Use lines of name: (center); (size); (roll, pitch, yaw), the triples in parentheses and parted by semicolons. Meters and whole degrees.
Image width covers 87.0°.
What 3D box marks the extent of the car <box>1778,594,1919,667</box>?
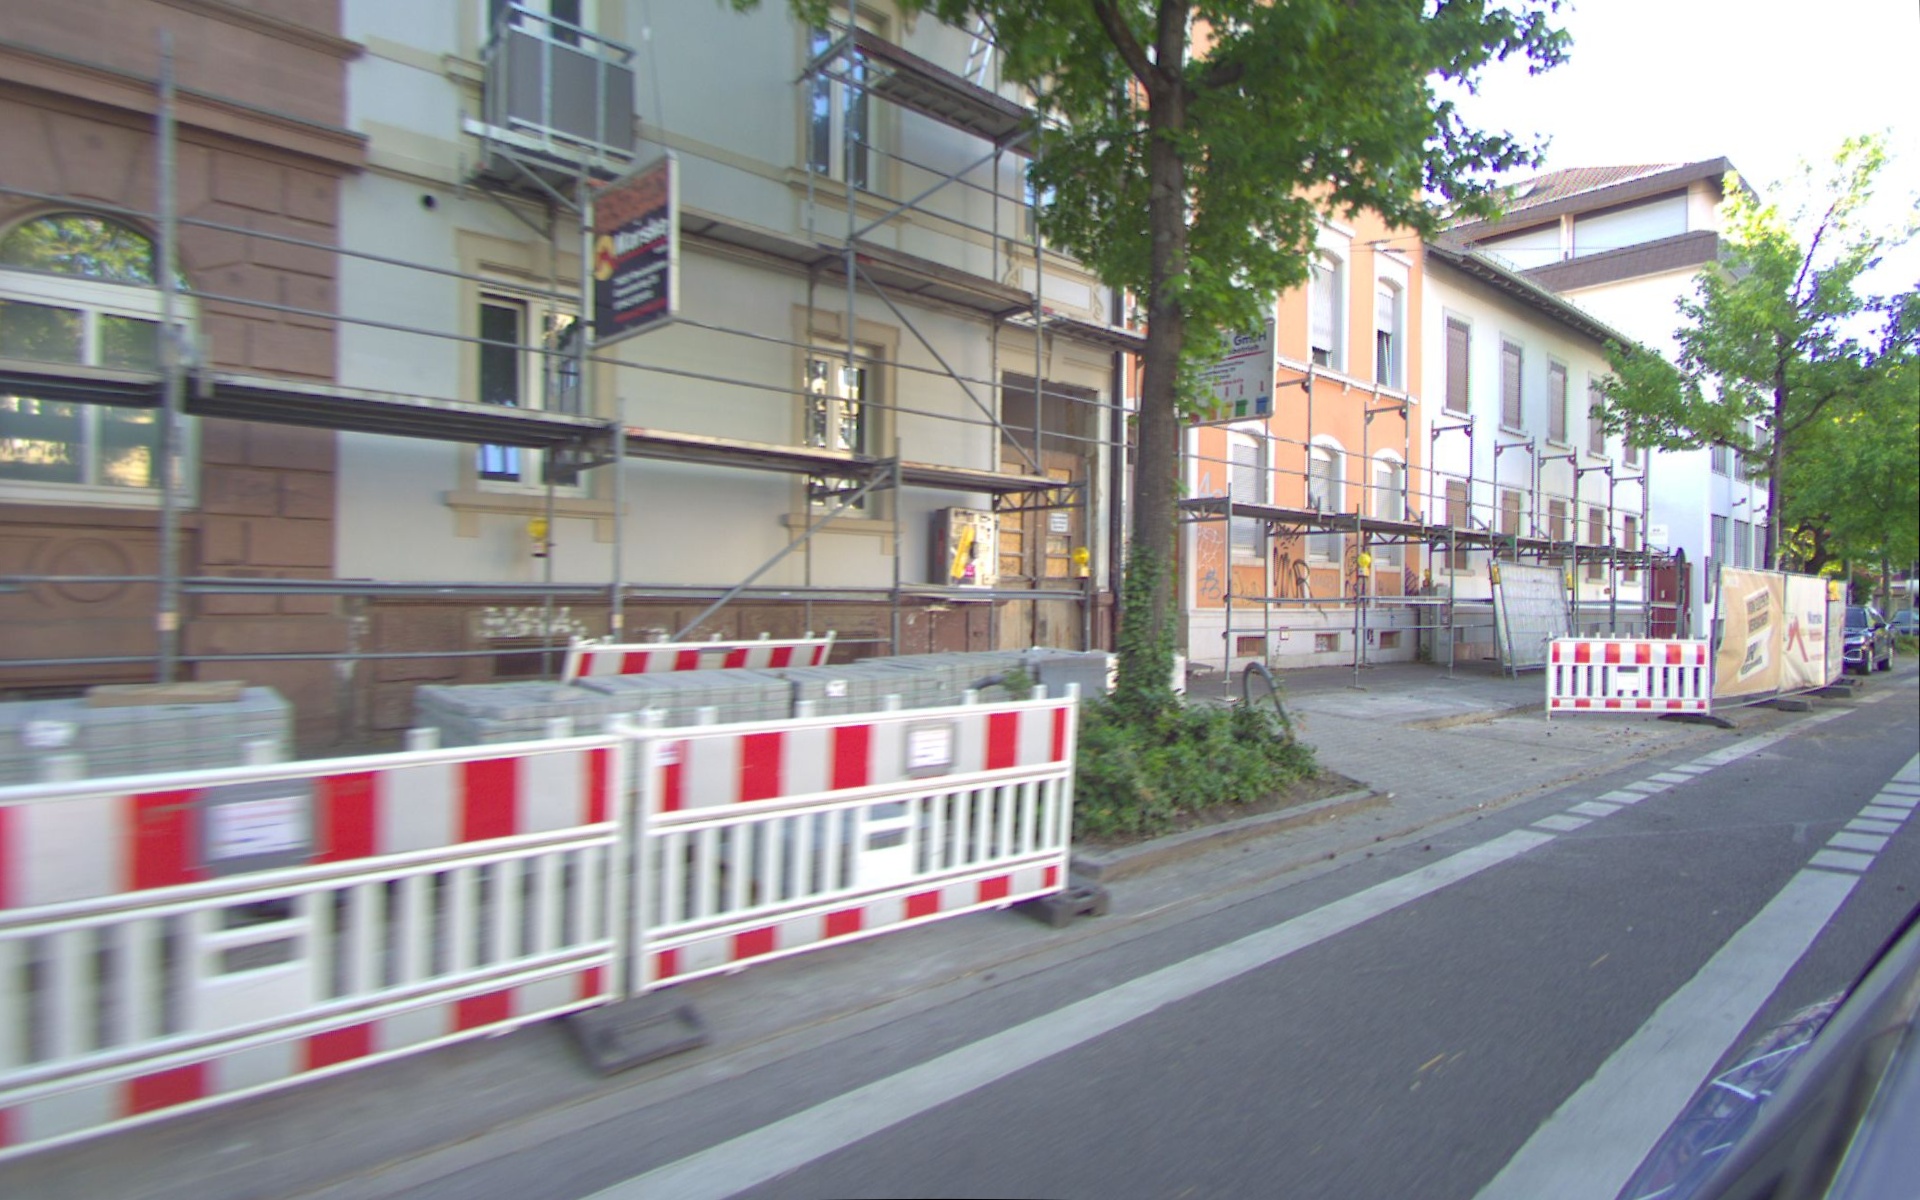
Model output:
car: (20.461, 0.642, 23.229); (4.035, 1.502, 1.768); (0, 1, -38)

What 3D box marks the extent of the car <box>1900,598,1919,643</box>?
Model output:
car: (33.047, 0.682, 34.132); (3.735, 1.465, 1.654); (0, 1, -42)
